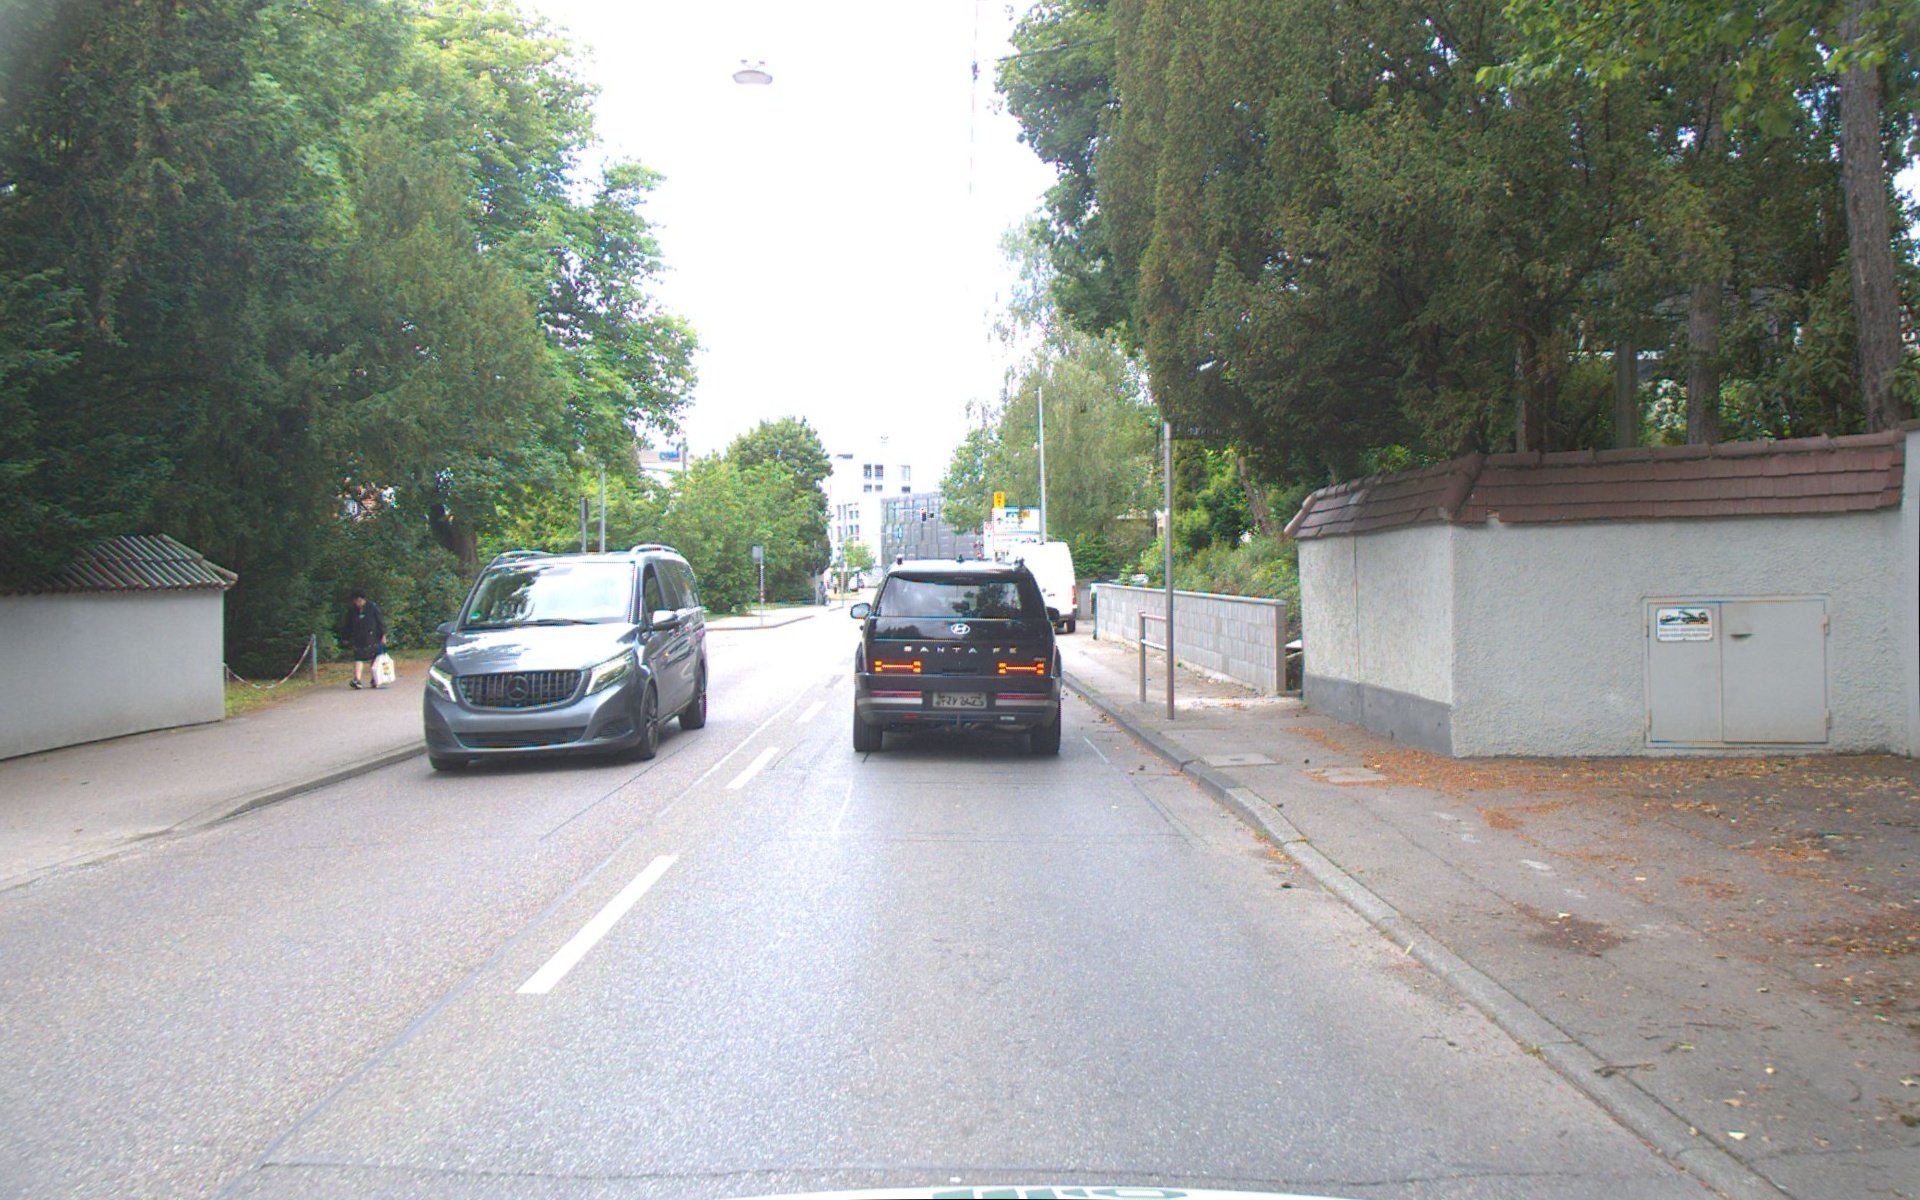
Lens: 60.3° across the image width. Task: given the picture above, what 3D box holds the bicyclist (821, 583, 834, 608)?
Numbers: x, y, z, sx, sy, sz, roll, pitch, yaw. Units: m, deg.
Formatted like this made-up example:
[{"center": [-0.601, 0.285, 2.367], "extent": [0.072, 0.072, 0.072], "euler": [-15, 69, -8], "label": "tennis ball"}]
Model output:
[{"center": [-9.023, -0.293, 112.585], "extent": [0.664, 1.688, 0.855], "euler": [1, -1, -15], "label": "bicyclist"}]

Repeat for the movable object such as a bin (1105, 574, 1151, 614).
[{"center": [6.501, -0.226, 64.093], "extent": [1.422, 1.499, 1.715], "euler": [1, 0, -6], "label": "movable object such as a bin"}]

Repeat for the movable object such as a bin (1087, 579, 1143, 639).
[{"center": [3.945, 0.228, 42.158], "extent": [1.273, 1.476, 1.180], "euler": [-1, 0, -1], "label": "movable object such as a bin"}]

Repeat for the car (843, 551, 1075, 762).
[{"center": [-0.024, 0.455, 15.881], "extent": [1.923, 1.741, 4.000], "euler": [1, 1, -1], "label": "car"}]

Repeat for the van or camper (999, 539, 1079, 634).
[{"center": [2.363, -0.428, 51.002], "extent": [1.924, 2.673, 6.357], "euler": [-3, 1, -1], "label": "van or camper"}]

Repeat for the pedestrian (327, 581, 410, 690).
[{"center": [-8.956, 0.540, 25.080], "extent": [0.907, 1.588, 0.901], "euler": [2, -1, -5], "label": "pedestrian"}]

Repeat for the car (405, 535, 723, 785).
[{"center": [-3.559, 0.463, 15.887], "extent": [1.852, 1.887, 5.081], "euler": [-4, 1, -2], "label": "car"}]

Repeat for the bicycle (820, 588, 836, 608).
[{"center": [-9.002, -0.105, 112.506], "extent": [0.664, 1.302, 2.491], "euler": [1, -1, -14], "label": "bicycle"}]

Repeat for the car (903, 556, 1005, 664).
[{"center": [-0.157, 0.167, 33.578], "extent": [1.924, 2.036, 3.999], "euler": [1, 1, -1], "label": "car"}]
